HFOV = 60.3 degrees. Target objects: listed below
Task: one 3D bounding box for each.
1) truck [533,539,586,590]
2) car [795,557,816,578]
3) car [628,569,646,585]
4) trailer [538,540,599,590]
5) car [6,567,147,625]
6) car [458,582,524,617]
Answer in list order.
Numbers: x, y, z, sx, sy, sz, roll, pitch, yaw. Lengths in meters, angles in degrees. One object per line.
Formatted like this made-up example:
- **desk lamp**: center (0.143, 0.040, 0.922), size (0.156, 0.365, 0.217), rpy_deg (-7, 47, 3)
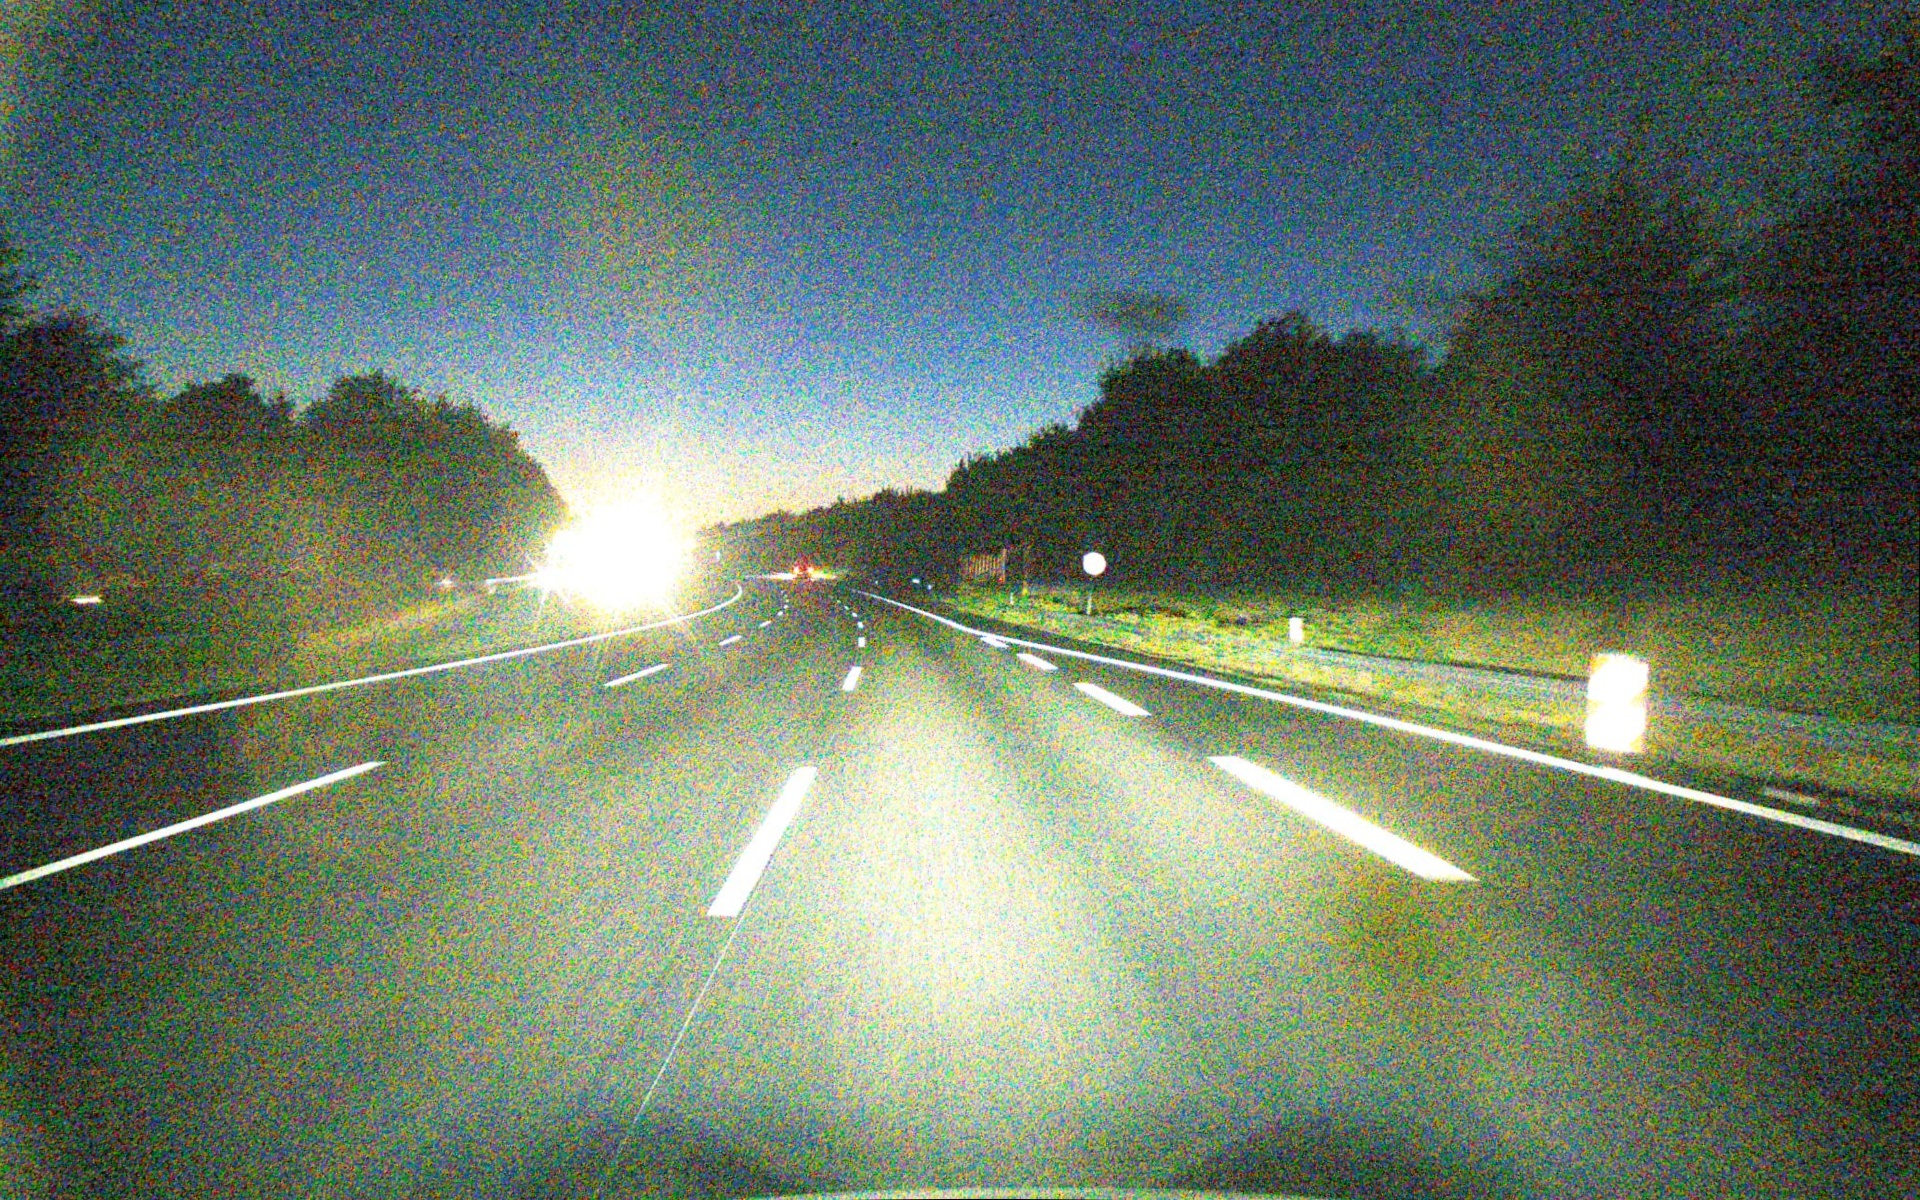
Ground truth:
- **truck**: center (-33.723, -2.949, 139.612), size (3.520, 4.171, 5.987), rpy_deg (0, 1, -6)
- **car**: center (-20.082, -4.210, 214.922), size (2.480, 2.597, 6.041), rpy_deg (3, 1, -8)
- **car**: center (-37.509, -2.673, 192.359), size (1.957, 1.756, 4.068), rpy_deg (0, 1, -10)
- **trailer**: center (-34.466, -3.060, 146.264), size (3.530, 4.161, 14.106), rpy_deg (0, 1, -6)
- **car**: center (-24.973, -0.126, 46.911), size (1.954, 1.534, 3.998), rpy_deg (1, 0, -3)
- **car**: center (-20.947, -0.040, 73.968), size (1.954, 1.534, 3.998), rpy_deg (1, 0, -3)
